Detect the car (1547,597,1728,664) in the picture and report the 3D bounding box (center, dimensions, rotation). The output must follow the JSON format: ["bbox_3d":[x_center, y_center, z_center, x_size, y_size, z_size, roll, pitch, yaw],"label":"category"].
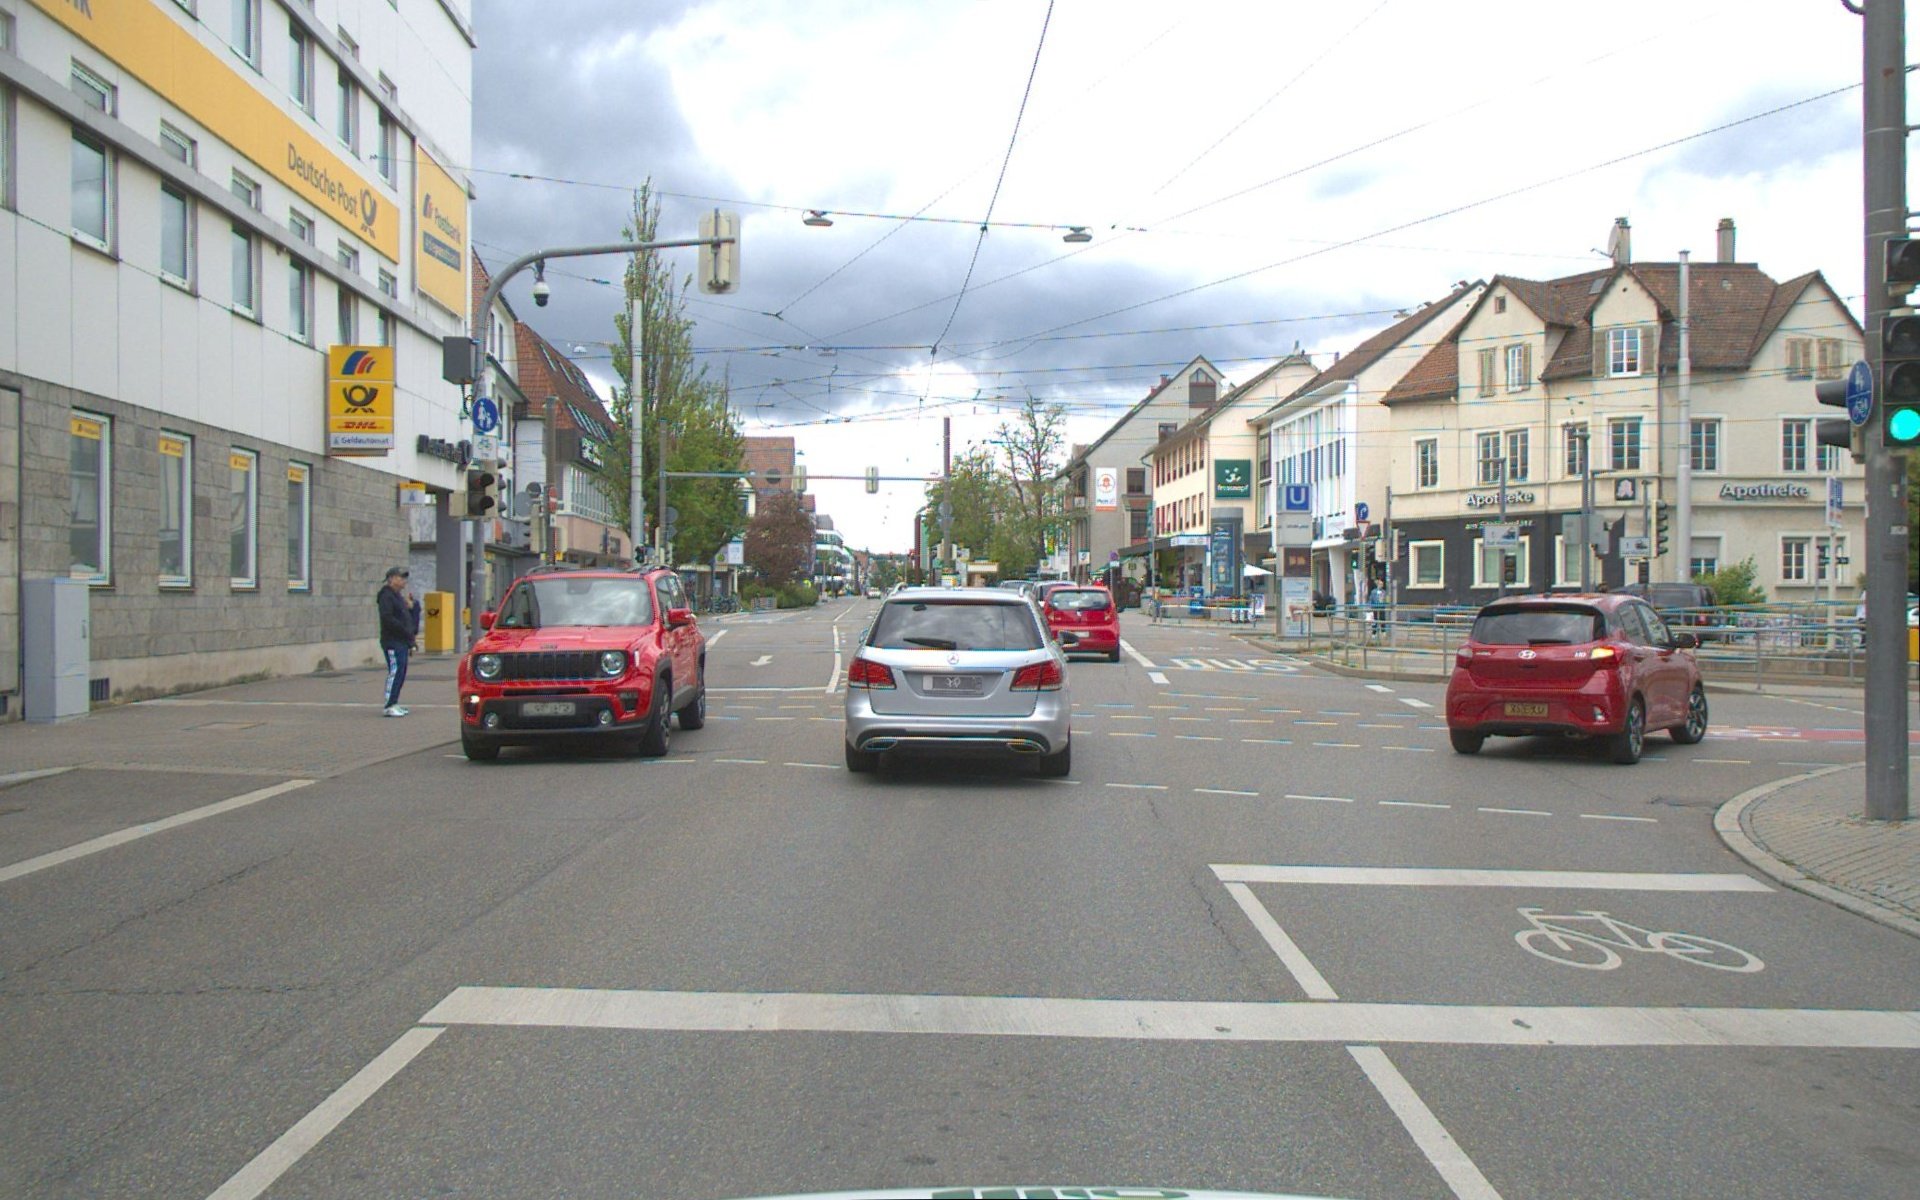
[{"bbox_3d":[20.000,0.868,48.932,4.612,1.853,1.853,1,-1,42],"label":"car"}]

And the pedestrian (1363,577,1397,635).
[{"bbox_3d":[12.805,0.165,50.437,0.825,1.748,0.726,0,0,-6],"label":"pedestrian"}]

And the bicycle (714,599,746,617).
[{"bbox_3d":[-14.000,0.502,100.671,1.904,1.047,0.528,1,0,-13],"label":"bicycle"}]

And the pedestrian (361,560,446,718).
[{"bbox_3d":[-6.326,0.426,18.837,0.634,1.748,0.783,1,0,4],"label":"pedestrian"}]

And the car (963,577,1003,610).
[{"bbox_3d":[1.283,-0.353,92.606,1.954,1.780,3.997,0,0,-3],"label":"car"}]

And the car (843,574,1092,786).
[{"bbox_3d":[0.120,0.572,14.201,1.807,1.534,4.172,0,0,2],"label":"car"}]

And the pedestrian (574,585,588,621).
[{"bbox_3d":[-19.673,0.170,85.859,0.632,1.868,0.577,0,0,-17],"label":"pedestrian"}]

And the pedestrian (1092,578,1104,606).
[{"bbox_3d":[7.440,-0.425,89.099,0.566,1.495,0.651,1,0,-3],"label":"pedestrian"}]

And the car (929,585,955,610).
[{"bbox_3d":[-1.561,-0.229,140.832,1.954,2.049,3.996,0,0,-5],"label":"car"}]

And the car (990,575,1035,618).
[{"bbox_3d":[2.256,-0.158,71.690,1.699,1.790,3.999,0,0,-2],"label":"car"}]

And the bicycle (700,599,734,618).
[{"bbox_3d":[-14.344,0.502,97.638,1.904,1.047,0.528,1,0,-13],"label":"bicycle"}]

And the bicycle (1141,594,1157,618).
[{"bbox_3d":[8.857,0.280,77.530,0.439,1.110,2.148,0,0,-2],"label":"bicycle"}]

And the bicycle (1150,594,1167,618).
[{"bbox_3d":[9.297,0.269,77.554,0.439,1.127,2.148,0,0,-2],"label":"bicycle"}]

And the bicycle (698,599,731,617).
[{"bbox_3d":[-14.668,0.495,98.874,1.904,1.047,0.528,1,0,-13],"label":"bicycle"}]

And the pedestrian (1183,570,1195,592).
[{"bbox_3d":[12.907,-1.060,93.234,0.523,1.240,0.579,1,0,-5],"label":"pedestrian"}]

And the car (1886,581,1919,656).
[{"bbox_3d":[26.758,0.521,42.627,1.973,1.952,4.710,2,-1,-42],"label":"car"}]

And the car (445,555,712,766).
[{"bbox_3d":[-3.470,0.486,15.747,1.763,1.724,3.895,-1,0,-3],"label":"car"}]

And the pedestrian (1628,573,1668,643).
[{"bbox_3d":[17.453,0.193,41.942,0.783,1.748,0.640,1,1,-43],"label":"pedestrian"}]

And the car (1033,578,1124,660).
[{"bbox_3d":[2.465,0.347,33.602,1.697,1.534,4.003,1,1,6],"label":"car"}]

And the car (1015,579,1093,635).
[{"bbox_3d":[2.676,0.176,47.860,1.700,1.534,3.996,0,0,-5],"label":"car"}]

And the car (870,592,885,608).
[{"bbox_3d":[-11.080,-0.005,221.664,1.954,2.049,3.997,0,0,-4],"label":"car"}]

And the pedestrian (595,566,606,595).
[{"bbox_3d":[-20.272,-1.090,93.169,0.568,1.634,0.641,0,0,-16],"label":"pedestrian"}]

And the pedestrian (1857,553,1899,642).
[{"bbox_3d":[18.297,-0.051,32.968,0.637,1.748,0.702,0,0,36],"label":"pedestrian"}]

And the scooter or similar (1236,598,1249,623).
[{"bbox_3d":[12.034,0.444,70.477,0.266,1.019,1.028,0,0,-6],"label":"scooter or similar"}]

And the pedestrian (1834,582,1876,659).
[{"bbox_3d":[20.817,0.475,38.473,0.639,1.748,0.784,2,1,44],"label":"pedestrian"}]

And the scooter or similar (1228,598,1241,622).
[{"bbox_3d":[11.678,0.414,70.419,0.266,1.019,1.028,0,0,-6],"label":"scooter or similar"}]

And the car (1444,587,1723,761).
[{"bbox_3d":[6.252,0.625,16.324,1.669,1.477,3.986,1,0,35],"label":"car"}]

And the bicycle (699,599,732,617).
[{"bbox_3d":[-14.512,0.498,98.289,1.904,1.047,0.528,1,0,-13],"label":"bicycle"}]

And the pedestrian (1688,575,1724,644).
[{"bbox_3d":[19.285,0.250,42.762,0.772,1.748,0.649,2,1,28],"label":"pedestrian"}]

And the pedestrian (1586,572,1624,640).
[{"bbox_3d":[16.773,0.152,43.026,0.690,1.748,0.648,0,0,-12],"label":"pedestrian"}]

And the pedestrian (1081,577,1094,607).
[{"bbox_3d":[7.118,-0.441,92.411,0.566,1.695,0.650,1,0,-4],"label":"pedestrian"}]

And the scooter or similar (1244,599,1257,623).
[{"bbox_3d":[12.389,0.450,70.527,0.266,1.019,1.028,0,0,-6],"label":"scooter or similar"}]

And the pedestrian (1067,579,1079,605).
[{"bbox_3d":[6.524,-0.460,95.755,0.567,1.460,0.650,1,0,-9],"label":"pedestrian"}]
